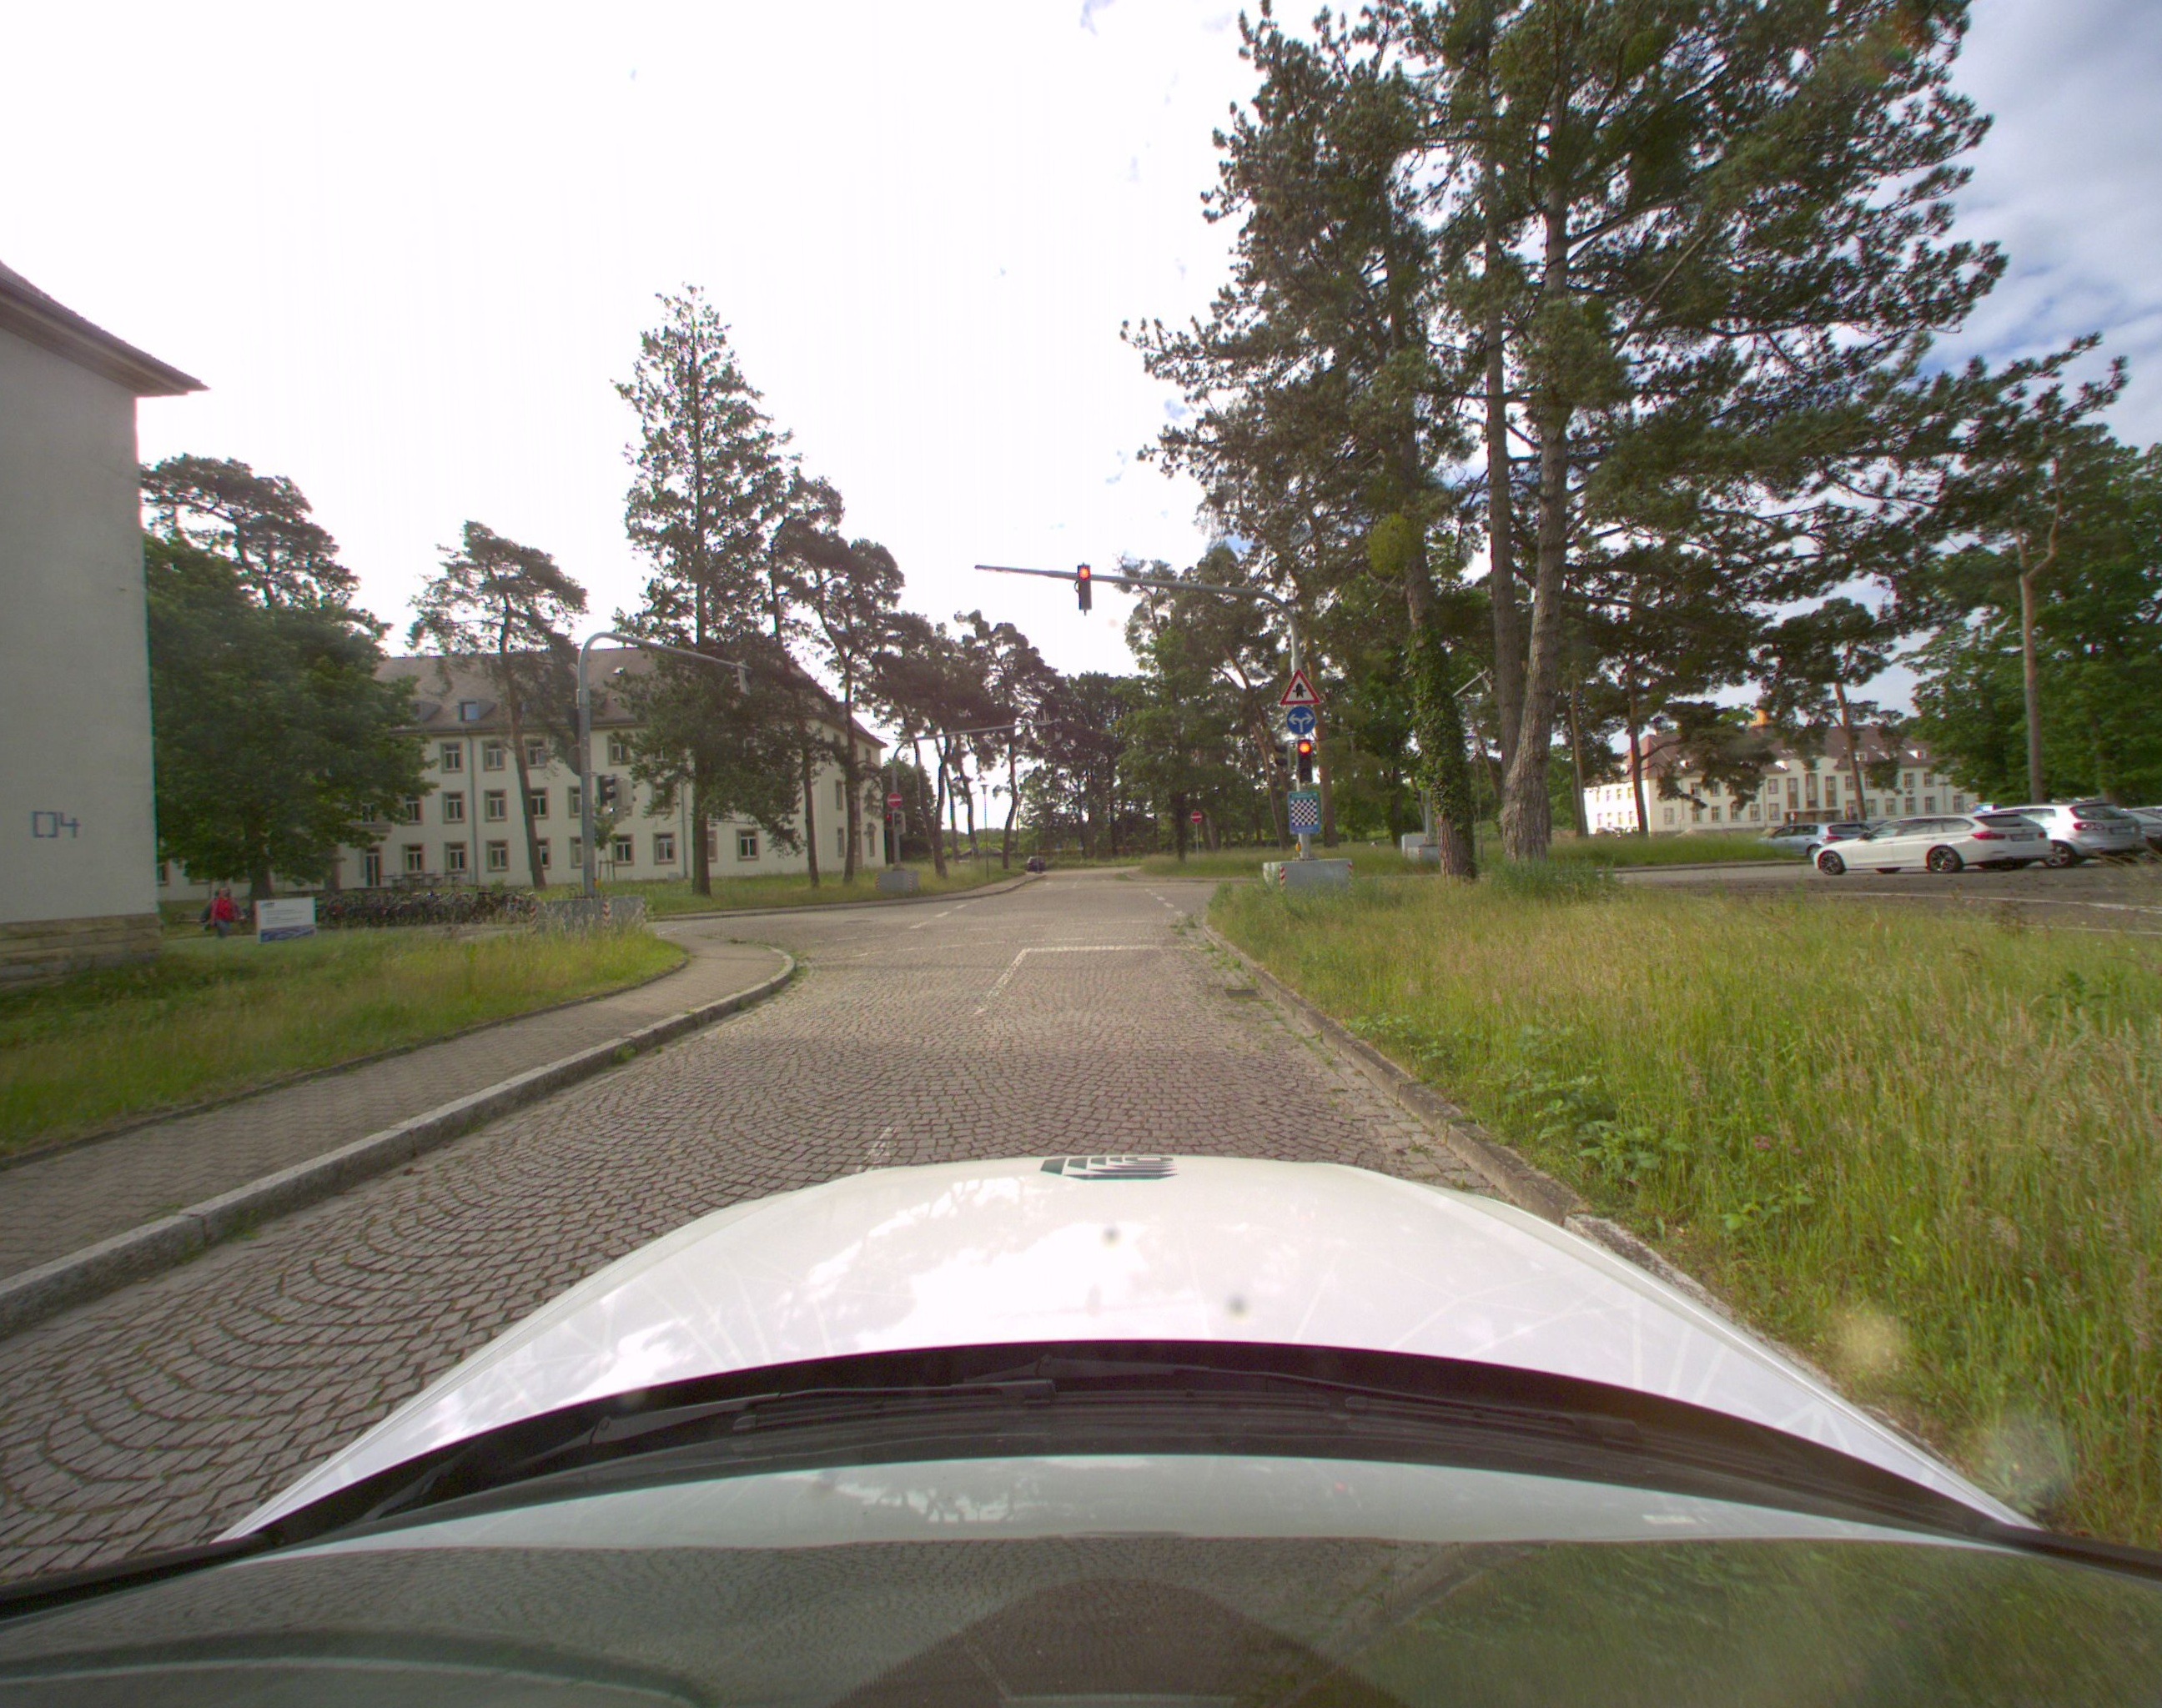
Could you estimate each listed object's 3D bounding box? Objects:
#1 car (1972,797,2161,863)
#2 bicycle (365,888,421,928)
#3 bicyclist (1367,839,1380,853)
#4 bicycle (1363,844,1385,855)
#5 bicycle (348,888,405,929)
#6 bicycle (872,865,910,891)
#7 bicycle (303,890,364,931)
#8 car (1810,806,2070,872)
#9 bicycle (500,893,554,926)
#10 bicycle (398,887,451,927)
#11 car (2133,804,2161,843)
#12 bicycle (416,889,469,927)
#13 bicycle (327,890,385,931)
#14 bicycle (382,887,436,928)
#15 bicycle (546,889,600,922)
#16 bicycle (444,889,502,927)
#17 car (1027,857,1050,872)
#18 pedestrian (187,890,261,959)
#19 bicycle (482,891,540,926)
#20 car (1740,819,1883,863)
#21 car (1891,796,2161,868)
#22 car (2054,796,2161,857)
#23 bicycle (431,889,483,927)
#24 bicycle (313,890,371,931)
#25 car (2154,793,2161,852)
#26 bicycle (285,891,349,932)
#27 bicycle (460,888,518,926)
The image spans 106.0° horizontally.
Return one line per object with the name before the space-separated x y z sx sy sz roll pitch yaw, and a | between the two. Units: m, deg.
car | 26.558 -0.617 21.142 1.862 1.577 4.444 -3 0 -2
bicycle | -23.857 1.854 28.280 0.447 1.283 1.695 -3 0 0
bicyclist | 31.136 -0.838 86.710 0.972 1.510 0.806 -3 0 -3
bicycle | 31.170 -0.503 86.724 1.982 1.095 0.809 -3 0 -3
bicycle | -24.420 1.867 28.255 0.447 1.283 1.695 -3 0 0
bicycle | -8.013 1.011 34.358 1.457 0.996 0.451 -3 0 -6
bicycle | -26.038 1.957 28.410 0.441 1.283 1.785 -3 0 0
car | 21.362 -0.311 20.580 1.748 1.415 4.443 -3 -1 -2
bicycle | -18.327 1.834 26.937 1.454 0.996 0.452 -3 0 1
bicycle | -22.837 1.831 28.368 0.447 1.283 1.695 -3 0 0
car | 44.638 -1.280 31.627 1.748 1.524 4.444 -3 0 -2
bicycle | -22.124 1.866 28.263 0.447 1.178 1.695 -3 0 0
bicycle | -25.083 1.935 28.226 0.447 1.283 1.695 -3 0 0
bicycle | -23.342 1.842 28.325 0.447 1.283 1.695 -3 0 0
bicycle | -16.805 1.707 26.963 1.454 0.996 0.452 -3 0 1
bicycle | -21.126 1.843 28.344 0.526 1.178 1.930 -3 0 0
car | -4.390 1.067 84.216 1.986 1.508 4.002 -1 0 2
pedestrian | -22.090 1.790 21.005 0.855 1.668 0.941 -2 0 5
bicycle | -19.845 1.881 28.396 0.573 1.078 1.996 -3 0 0
car | 28.767 -0.475 32.284 1.745 1.524 4.450 -3 0 2
car | 23.937 -0.507 20.847 1.862 1.577 4.444 -3 0 -2
car | 29.298 -0.765 21.475 1.862 1.577 4.444 -3 0 -2
bicycle | -21.638 1.868 28.285 0.447 1.178 1.695 -3 0 0
bicycle | -25.570 1.946 28.213 0.447 1.283 1.695 -3 0 0
car | 31.945 -0.953 21.285 1.862 1.686 4.444 -3 0 -2
bicycle | -26.503 1.969 28.276 0.447 1.283 1.827 -3 0 0
bicycle | -20.542 1.830 28.302 0.573 1.178 1.953 -3 0 0
